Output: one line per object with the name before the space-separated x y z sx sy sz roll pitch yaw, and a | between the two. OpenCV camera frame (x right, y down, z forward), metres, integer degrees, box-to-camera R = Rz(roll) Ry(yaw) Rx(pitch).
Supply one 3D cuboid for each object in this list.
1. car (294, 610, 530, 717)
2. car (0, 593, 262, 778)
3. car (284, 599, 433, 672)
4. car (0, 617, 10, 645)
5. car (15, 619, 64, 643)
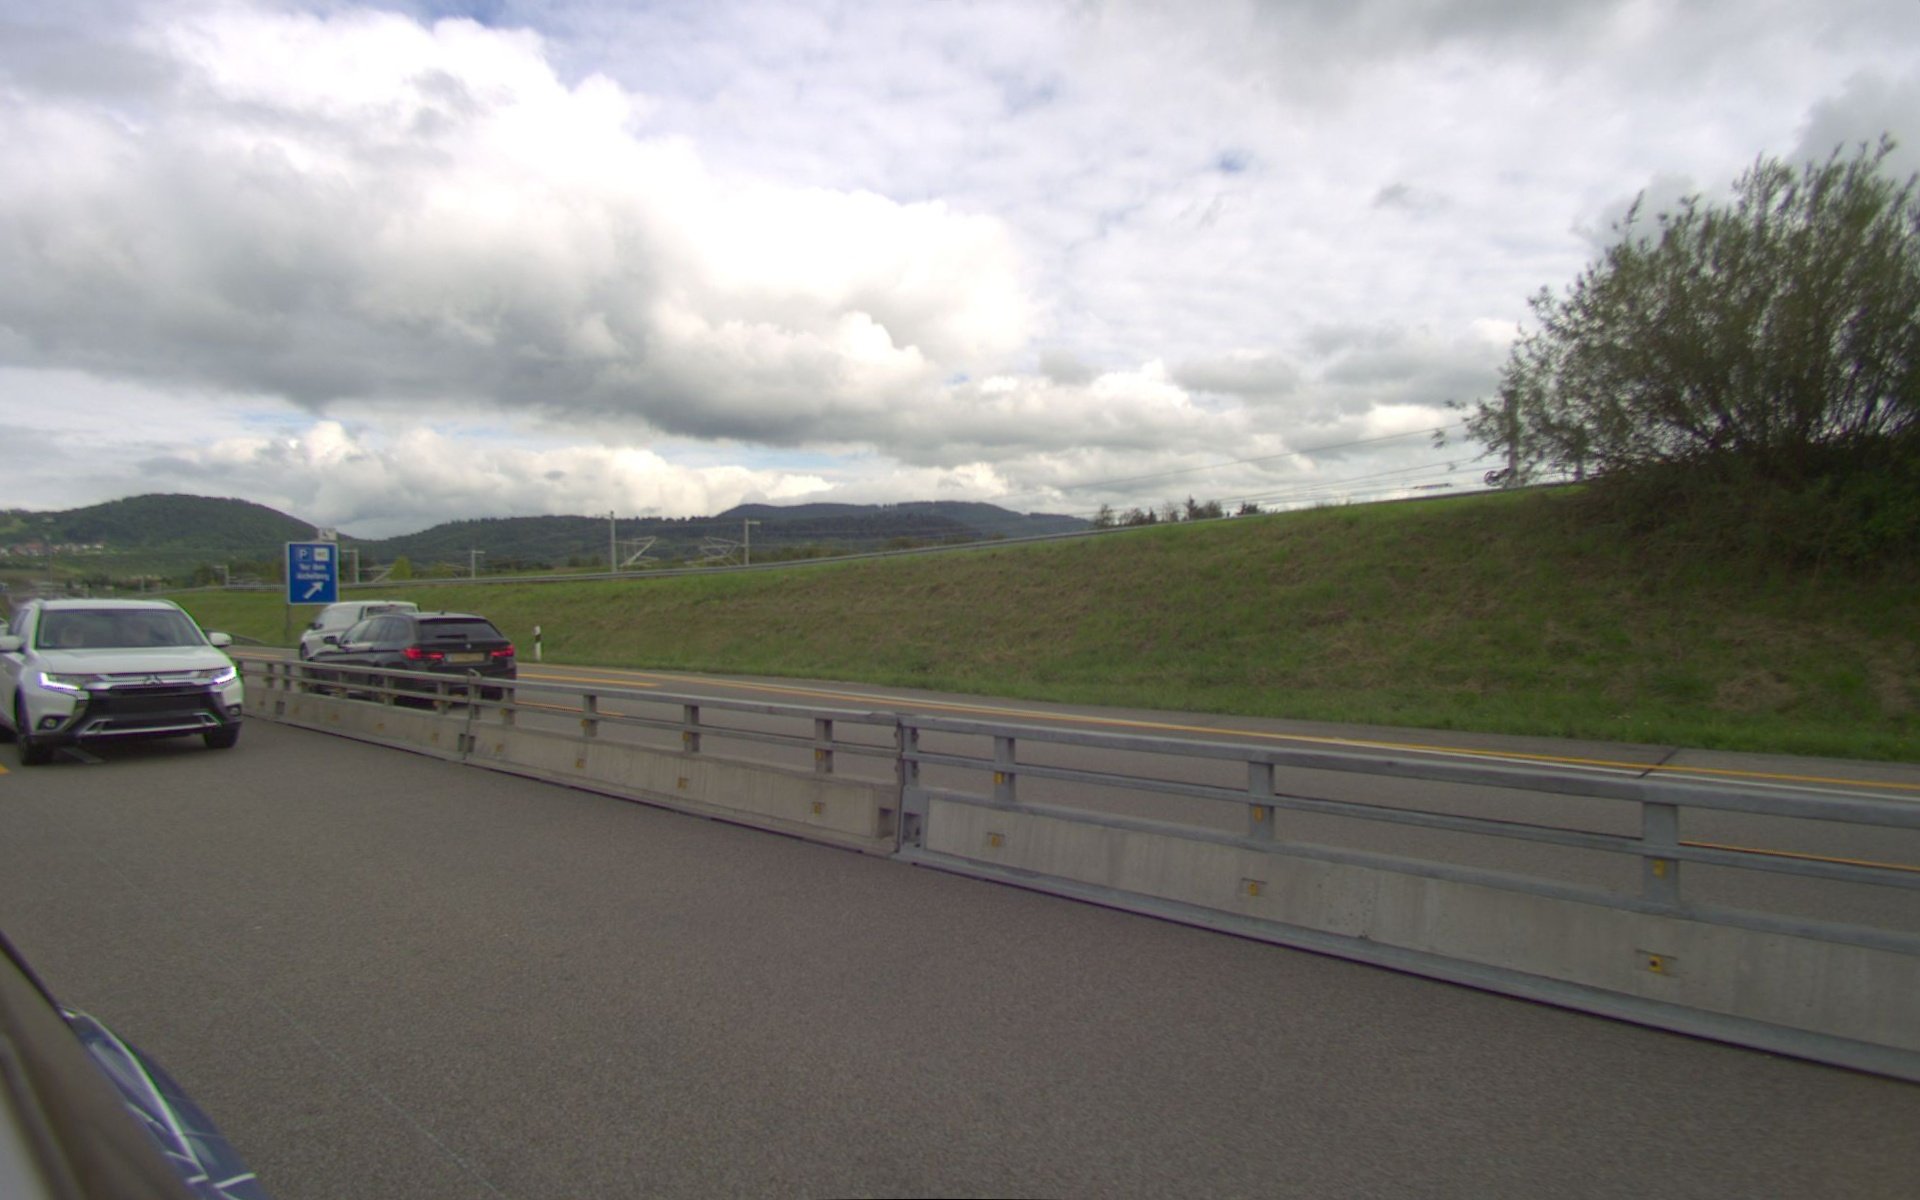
car | -8.923 0.931 16.312 4.587 1.480 1.915 -1 -2 42
car | -9.591 0.804 11.278 4.606 1.640 1.972 -1 -1 42
car | -16.263 0.914 27.244 4.930 1.805 1.973 -1 -1 40
car | -49.993 1.594 51.780 4.326 1.398 1.738 -1 0 43
car | -55.475 1.836 60.983 3.998 1.398 1.739 -1 -1 41
